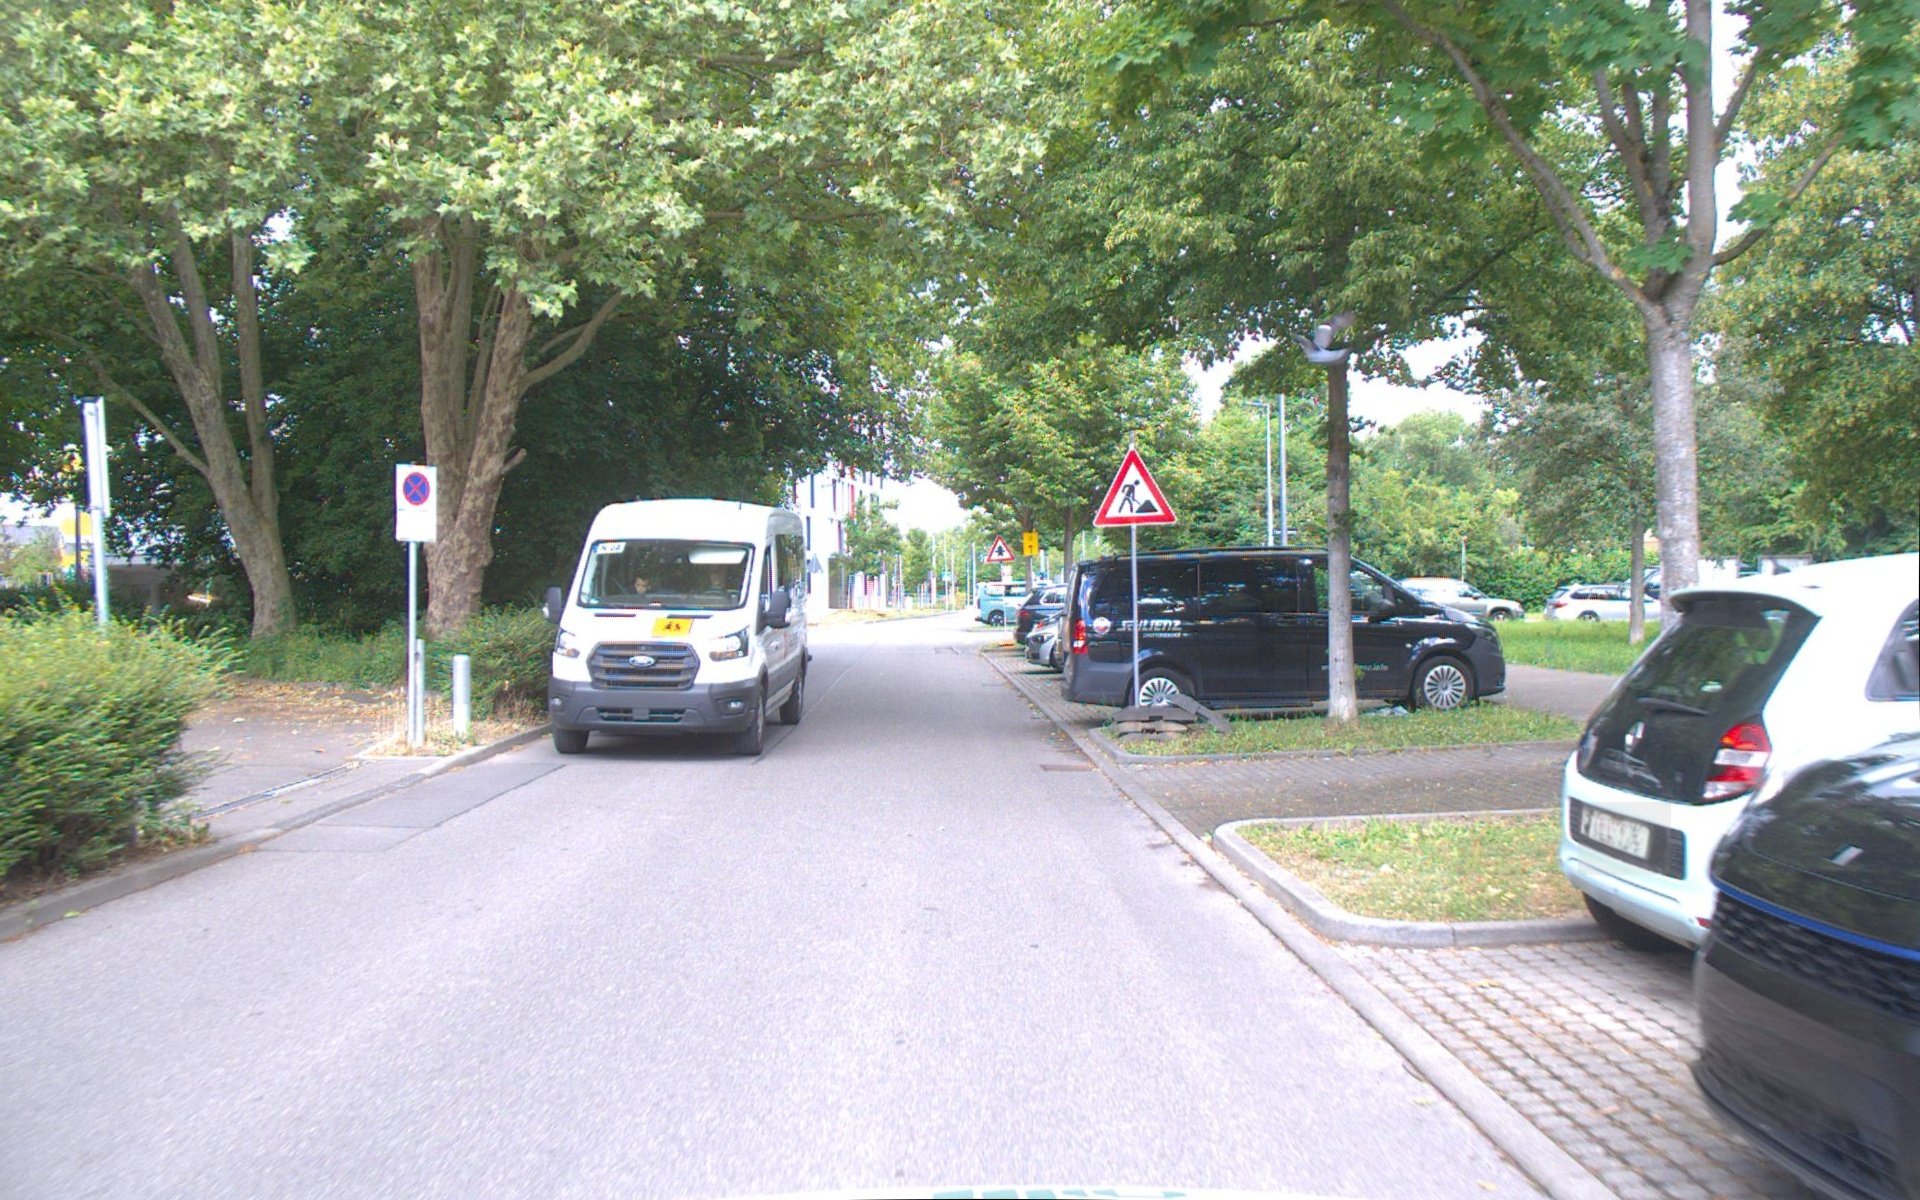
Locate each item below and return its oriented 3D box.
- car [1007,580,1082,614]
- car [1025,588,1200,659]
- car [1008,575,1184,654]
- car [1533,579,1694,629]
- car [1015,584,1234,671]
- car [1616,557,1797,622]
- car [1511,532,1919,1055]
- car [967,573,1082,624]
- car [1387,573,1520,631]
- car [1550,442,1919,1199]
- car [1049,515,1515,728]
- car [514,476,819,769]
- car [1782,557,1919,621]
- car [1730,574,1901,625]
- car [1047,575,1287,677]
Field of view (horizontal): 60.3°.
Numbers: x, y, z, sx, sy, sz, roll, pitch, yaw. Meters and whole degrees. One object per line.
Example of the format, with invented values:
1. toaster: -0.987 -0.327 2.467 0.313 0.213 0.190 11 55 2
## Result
1. car: 4.897 -0.164 95.629 4.287 1.937 1.937 0 0 3
2. car: 3.349 0.517 36.865 3.753 1.382 1.822 -2 -1 2
3. car: 3.211 0.342 39.576 4.038 1.678 1.980 -2 -1 2
4. car: 20.153 0.126 51.111 4.300 1.453 1.704 -1 0 4
5. car: 3.090 0.514 31.684 3.907 1.455 1.935 -2 -1 -2
6. car: 25.403 -0.337 56.455 5.207 2.093 2.139 -1 0 5
7. car: 4.008 0.531 6.078 3.310 1.602 1.796 -2 1 -1
8. car: 2.791 -0.067 72.235 4.871 2.006 1.846 -3 0 -1
9. car: 15.367 0.068 51.639 3.699 1.697 1.769 -1 0 6
10. car: 3.824 0.477 3.536 4.326 1.705 2.081 -3 1 -2
11. car: 3.559 0.228 19.053 4.853 2.048 2.165 -3 0 0
12. car: -2.811 0.177 17.474 2.088 2.519 6.276 0 0 0
13. car: 31.117 -0.388 56.282 5.207 2.093 2.139 -1 0 5
14. car: 26.330 -0.010 51.022 4.335 1.453 1.704 -1 0 5
15. car: 3.562 0.450 28.984 3.906 1.554 1.810 -2 -1 -1
